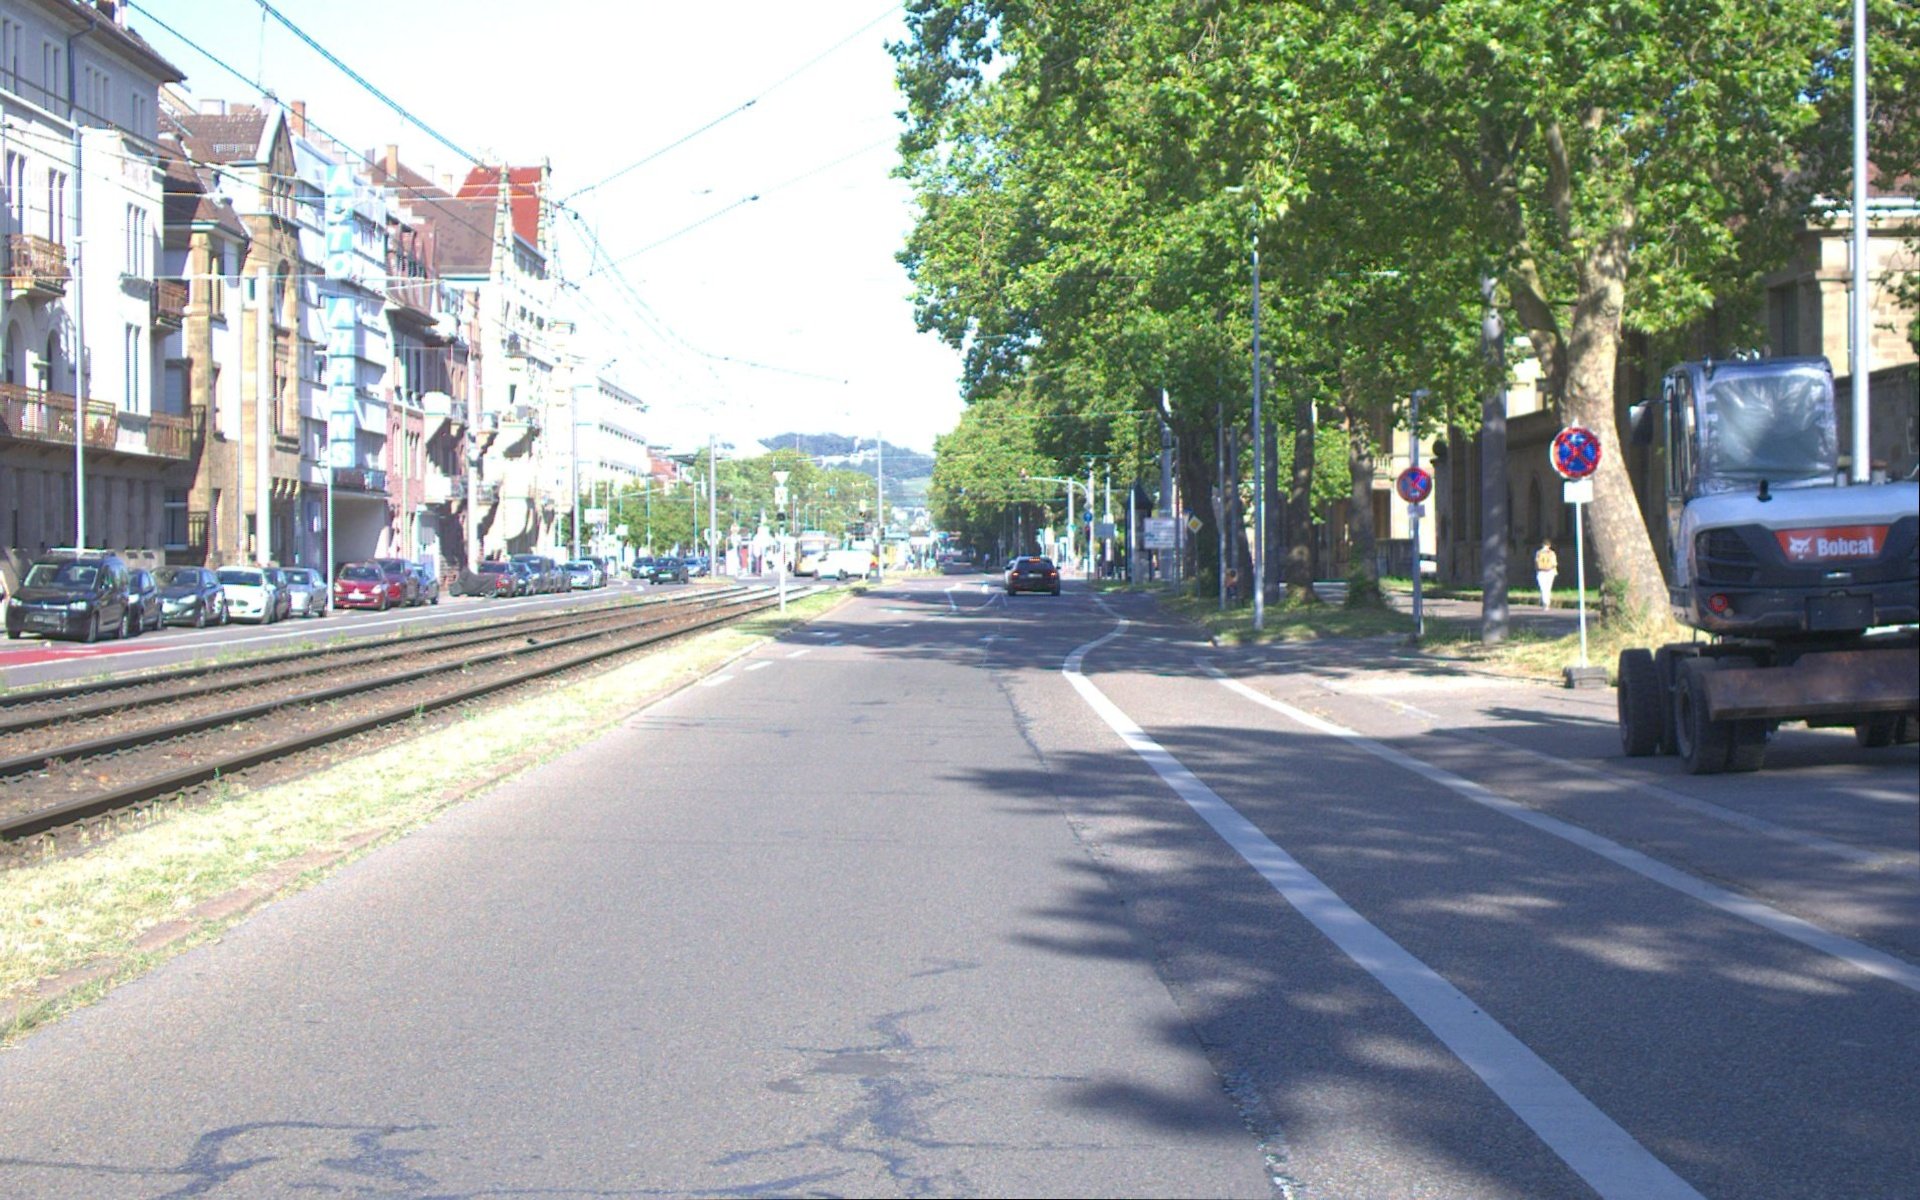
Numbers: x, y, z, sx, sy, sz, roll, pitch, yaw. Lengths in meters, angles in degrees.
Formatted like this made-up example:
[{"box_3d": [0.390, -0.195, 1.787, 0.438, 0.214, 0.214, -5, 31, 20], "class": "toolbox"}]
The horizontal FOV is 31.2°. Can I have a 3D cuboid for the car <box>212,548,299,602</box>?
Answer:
[{"box_3d": [-20.151, -0.728, 98.483, 1.635, 1.464, 4.159, 1, 1, 0], "class": "car"}]

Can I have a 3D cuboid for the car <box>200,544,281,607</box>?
[{"box_3d": [-18.692, -0.614, 89.454, 1.635, 1.464, 3.983, 2, -2, -6], "class": "car"}]

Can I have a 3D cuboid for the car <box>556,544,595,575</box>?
[{"box_3d": [-19.853, -2.092, 177.716, 1.794, 1.505, 4.001, 3, 1, -5], "class": "car"}]

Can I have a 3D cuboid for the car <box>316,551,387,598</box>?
[{"box_3d": [-19.489, -0.817, 110.203, 1.833, 1.386, 4.036, 3, 1, -5], "class": "car"}]

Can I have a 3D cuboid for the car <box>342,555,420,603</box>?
[{"box_3d": [-19.492, -0.708, 115.956, 1.833, 1.553, 4.353, 1, 1, 1], "class": "car"}]

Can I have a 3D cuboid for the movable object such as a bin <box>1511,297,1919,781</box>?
[{"box_3d": [6.254, -0.519, 26.545, 2.744, 3.135, 7.219, -4, 1, 1], "class": "movable object such as a bin"}]

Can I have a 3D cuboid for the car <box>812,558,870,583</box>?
[{"box_3d": [-7.594, -1.886, 219.586, 1.794, 1.505, 4.000, 1, 0, -34], "class": "car"}]

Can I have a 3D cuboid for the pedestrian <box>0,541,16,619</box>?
[{"box_3d": [-21.180, -0.443, 75.538, 0.589, 1.691, 0.857, 2, 0, 2], "class": "pedestrian"}]

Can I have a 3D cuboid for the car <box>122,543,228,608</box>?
[{"box_3d": [-19.180, -0.611, 84.136, 1.635, 1.464, 4.159, 3, 1, -1], "class": "car"}]

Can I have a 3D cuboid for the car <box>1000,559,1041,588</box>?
[{"box_3d": [2.969, -1.304, 169.558, 1.833, 1.386, 4.159, 0, 1, -1], "class": "car"}]

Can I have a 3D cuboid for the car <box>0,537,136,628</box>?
[{"box_3d": [-18.847, -0.391, 72.662, 1.862, 1.780, 4.402, 2, 1, -1], "class": "car"}]

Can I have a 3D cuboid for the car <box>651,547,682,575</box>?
[{"box_3d": [-17.223, -2.313, 201.875, 1.635, 1.596, 4.159, -2, 1, -2], "class": "car"}]

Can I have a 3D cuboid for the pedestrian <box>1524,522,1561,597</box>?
[{"box_3d": [13.457, -0.944, 79.430, 0.608, 1.676, 0.636, -4, 1, -2], "class": "pedestrian"}]

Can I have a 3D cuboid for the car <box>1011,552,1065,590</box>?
[{"box_3d": [2.873, -1.078, 126.796, 1.833, 1.386, 4.159, 0, 1, -1], "class": "car"}]
